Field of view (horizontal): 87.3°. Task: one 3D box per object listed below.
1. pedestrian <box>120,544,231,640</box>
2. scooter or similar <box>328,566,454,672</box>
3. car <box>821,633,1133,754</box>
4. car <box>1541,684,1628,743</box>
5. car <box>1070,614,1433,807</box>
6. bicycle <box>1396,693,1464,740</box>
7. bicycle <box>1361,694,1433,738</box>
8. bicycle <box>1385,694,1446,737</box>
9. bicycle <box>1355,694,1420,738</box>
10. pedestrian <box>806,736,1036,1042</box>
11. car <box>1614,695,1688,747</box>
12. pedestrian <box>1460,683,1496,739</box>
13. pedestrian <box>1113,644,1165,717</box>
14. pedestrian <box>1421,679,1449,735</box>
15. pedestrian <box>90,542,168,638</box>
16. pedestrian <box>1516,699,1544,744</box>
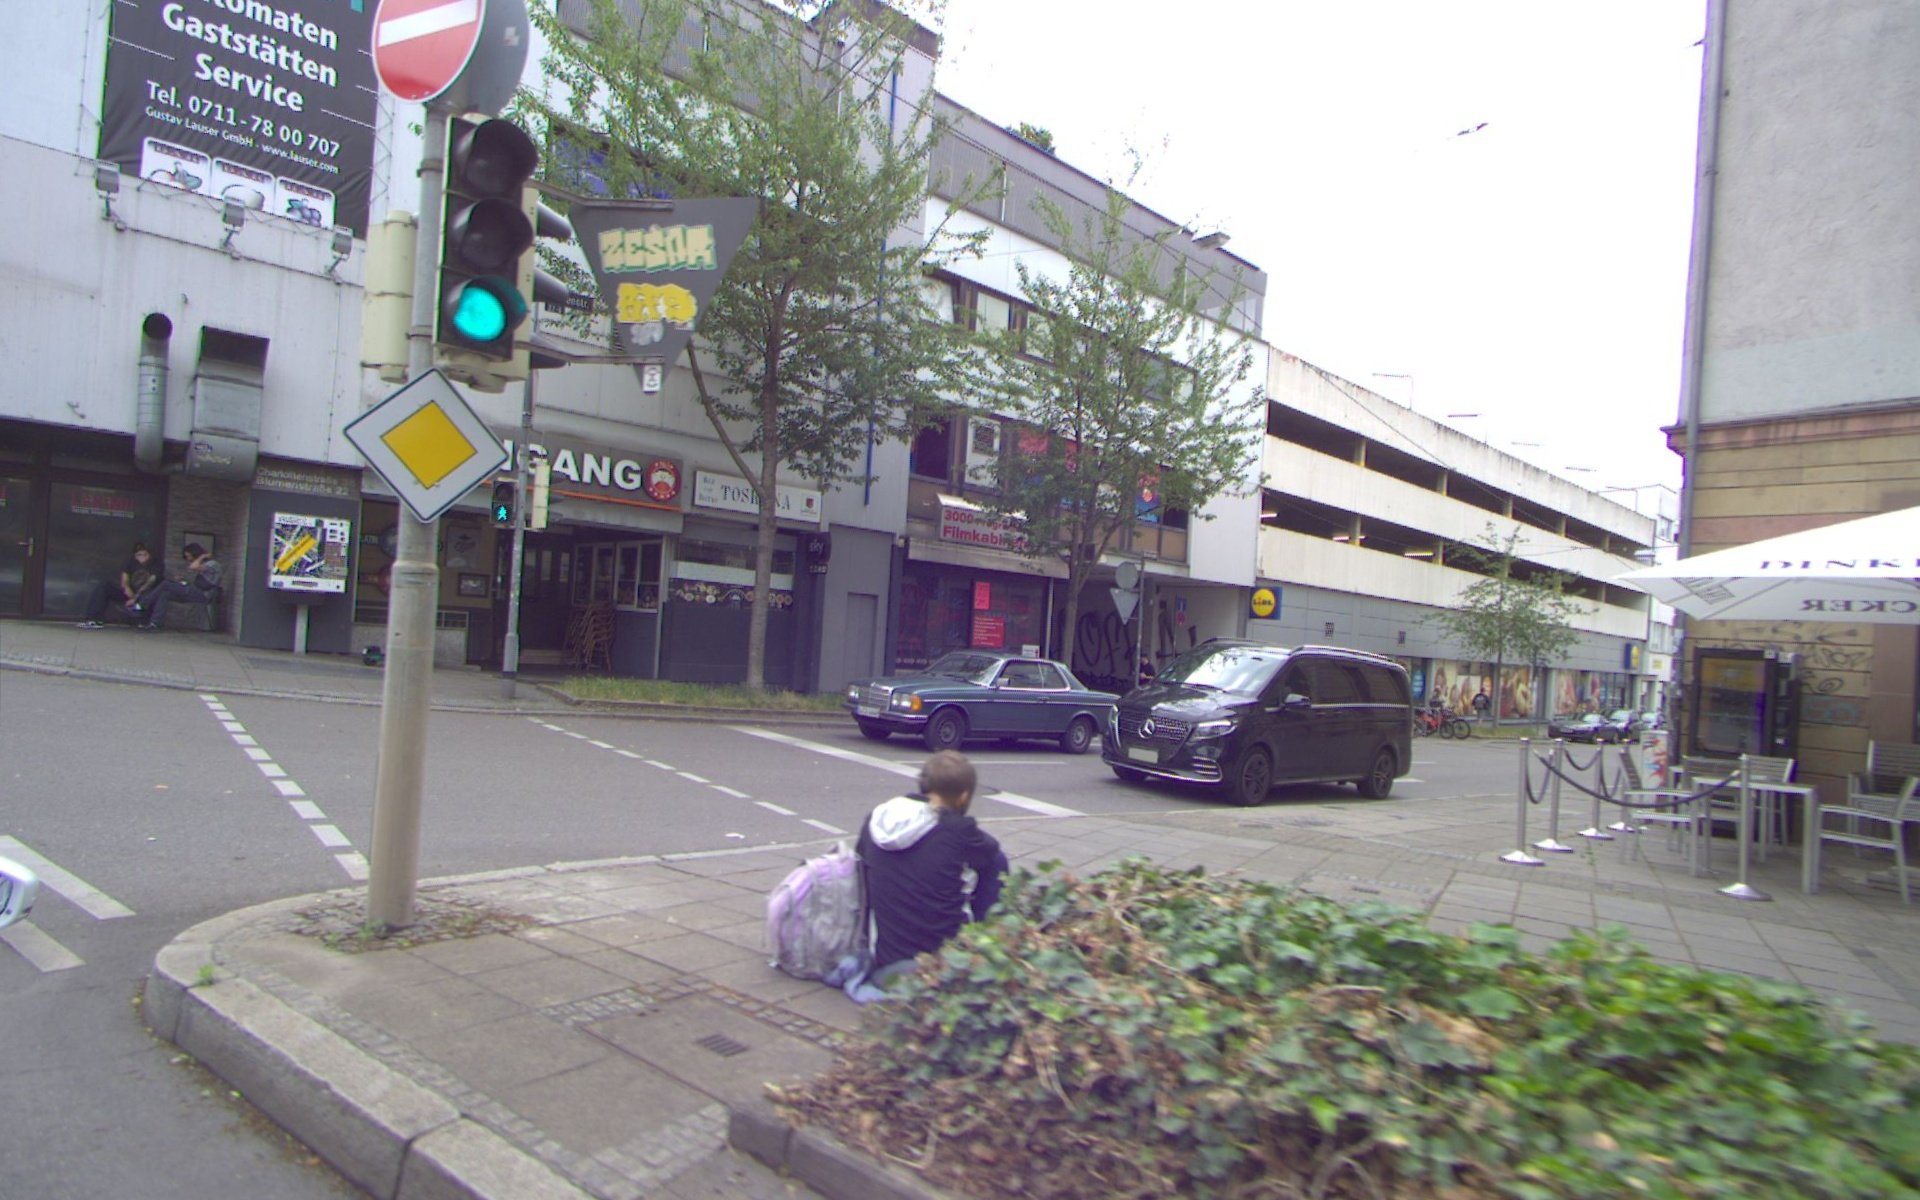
[{"bbox_3d":[-11.111,-0.110,14.257,1.102,1.202,0.734,8,-1,-40],"label":"pedestrian"},{"bbox_3d":[-8.273,0.302,14.692,0.586,1.364,1.393,7,-3,19],"label":"scooter or similar"},{"bbox_3d":[0.391,1.425,14.750,4.564,1.372,1.742,9,-4,-42],"label":"car"},{"bbox_3d":[25.951,4.730,41.748,3.974,2.037,1.856,8,-1,-42],"label":"car"},{"bbox_3d":[3.937,1.456,12.986,5.118,1.929,1.978,9,-3,-42],"label":"car"},{"bbox_3d":[15.272,3.789,32.725,0.625,1.223,1.814,7,-1,-42],"label":"bicycle"},{"bbox_3d":[13.453,3.573,31.022,0.729,1.074,1.814,7,-1,-42],"label":"bicycle"},{"bbox_3d":[14.640,3.708,32.368,0.519,1.115,1.634,7,-1,-42],"label":"bicycle"},{"bbox_3d":[12.926,3.503,30.446,0.556,1.073,1.645,7,-1,-42],"label":"bicycle"},{"bbox_3d":[-0.141,1.013,3.719,0.574,0.921,0.484,7,0,35],"label":"pedestrian"},{"bbox_3d":[32.810,5.766,47.731,3.974,2.037,1.856,8,-1,-42],"label":"car"},{"bbox_3d":[20.047,4.299,38.949,0.848,2.038,0.766,7,0,-42],"label":"pedestrian"},{"bbox_3d":[4.550,2.057,25.578,0.926,1.731,0.647,7,0,-38],"label":"pedestrian"},{"bbox_3d":[18.235,4.104,38.627,0.568,2.038,0.594,7,0,-42],"label":"pedestrian"},{"bbox_3d":[-11.905,-0.141,14.408,0.732,1.250,0.709,8,0,-41],"label":"pedestrian"},{"bbox_3d":[23.285,4.946,41.097,0.661,1.731,0.647,7,0,-38],"label":"pedestrian"}]
